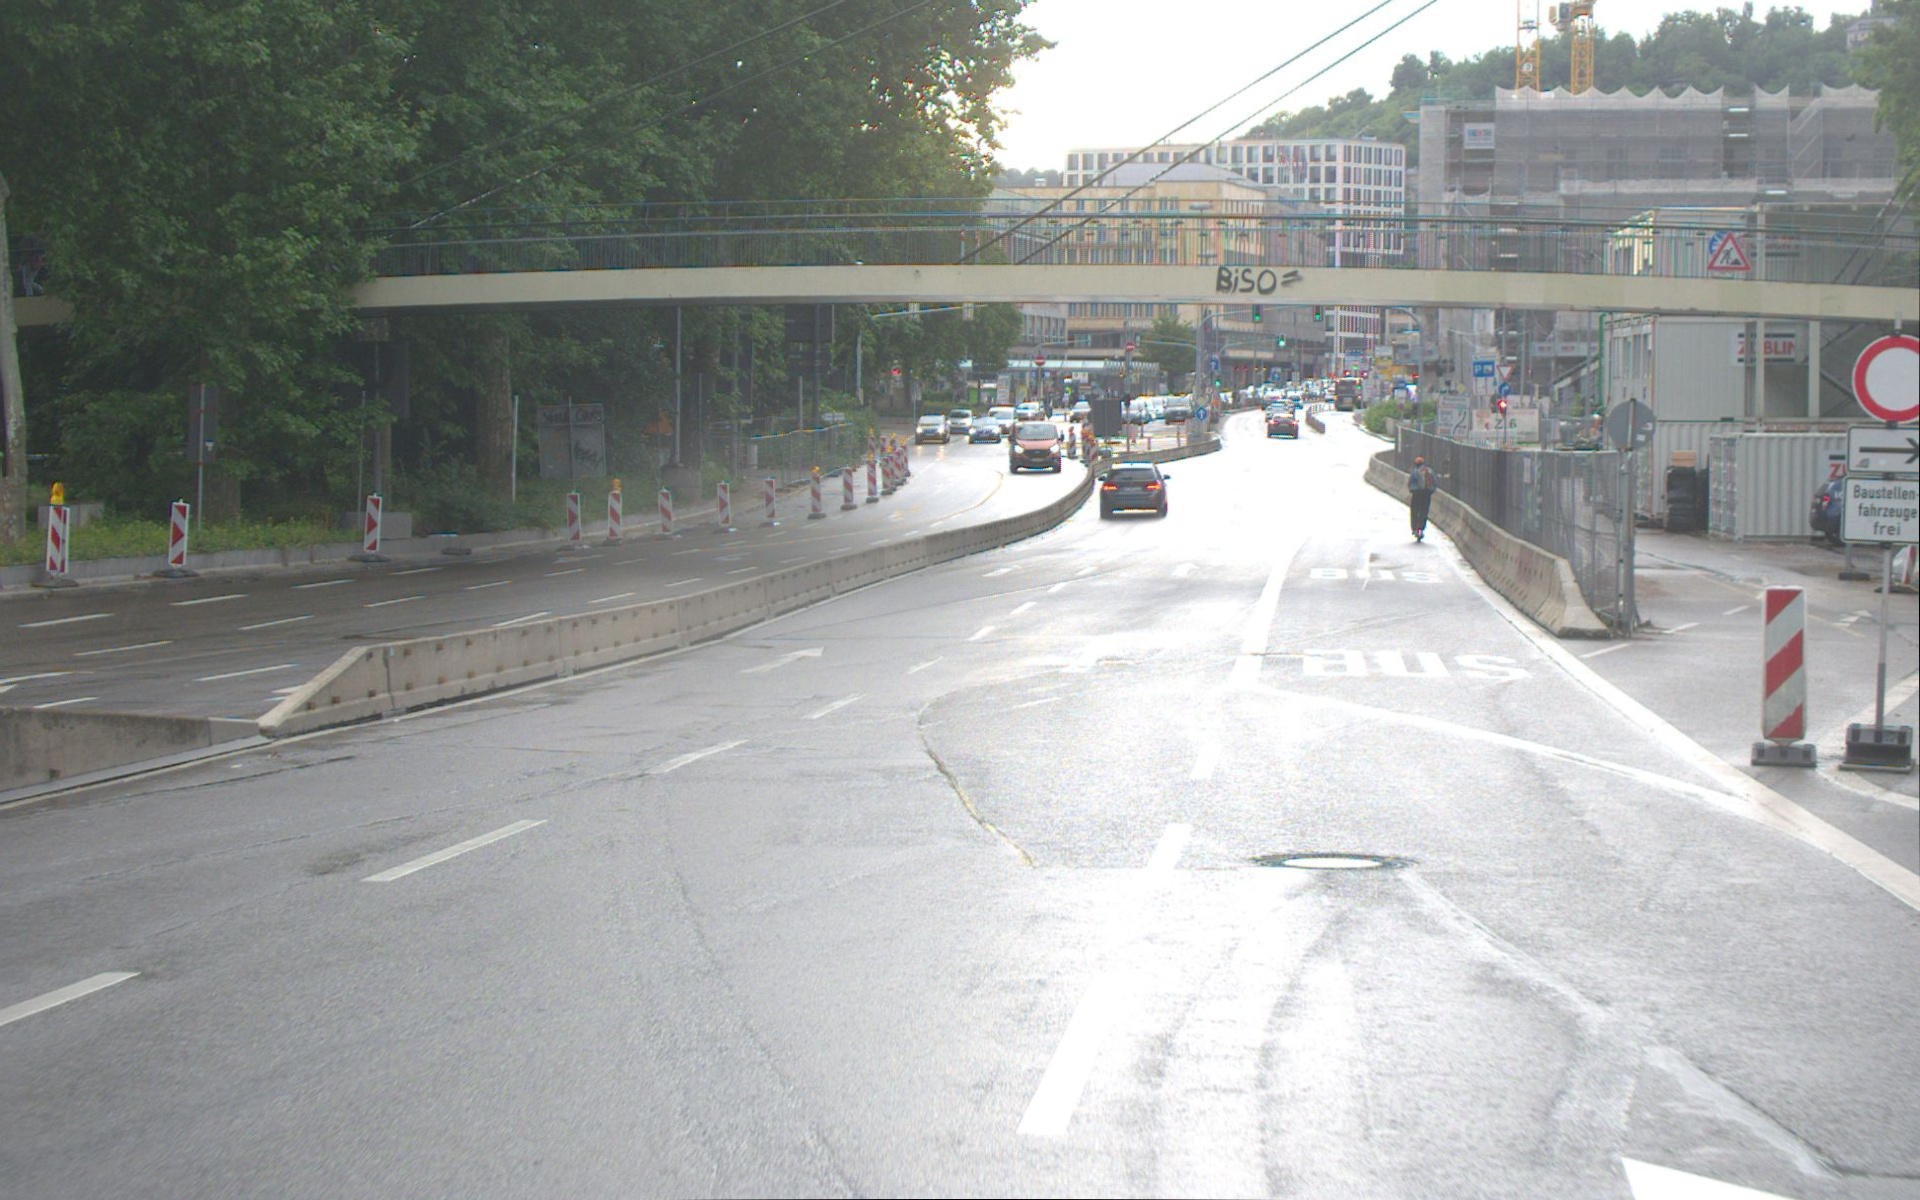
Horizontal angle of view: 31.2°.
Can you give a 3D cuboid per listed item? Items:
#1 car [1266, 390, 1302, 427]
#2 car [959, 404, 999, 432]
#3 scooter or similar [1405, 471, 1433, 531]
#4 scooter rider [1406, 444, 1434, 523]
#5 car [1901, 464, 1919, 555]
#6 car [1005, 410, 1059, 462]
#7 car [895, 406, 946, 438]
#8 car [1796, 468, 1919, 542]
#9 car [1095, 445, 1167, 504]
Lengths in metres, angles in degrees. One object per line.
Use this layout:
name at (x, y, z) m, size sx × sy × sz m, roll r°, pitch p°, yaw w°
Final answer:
car at (19.008, -11.234, 201.492) m, size 1.994 × 2.007 × 3.999 m, roll -1°, pitch 1°, yaw 7°
car at (1.034, -10.156, 192.009) m, size 1.712 × 1.334 × 4.063 m, roll -7°, pitch 3°, yaw -5°
scooter or similar at (10.530, -2.271, 78.813) m, size 0.597 × 1.314 × 1.667 m, roll 1°, pitch 4°, yaw 8°
scooter rider at (10.533, -2.673, 78.755) m, size 0.597 × 1.779 × 0.997 m, roll 1°, pitch 3°, yaw 8°
car at (20.597, -1.695, 65.954) m, size 4.498 × 1.722 × 2.000 m, roll 1°, pitch 3°, yaw 1°
car at (2.874, -6.591, 138.729) m, size 2.031 × 1.929 × 5.044 m, roll -1°, pitch 1°, yaw 0°
car at (-2.225, -9.979, 192.391) m, size 2.030 × 1.647 × 4.321 m, roll -1°, pitch 4°, yaw -11°
car at (22.034, -2.220, 80.378) m, size 4.543 × 1.623 × 1.788 m, roll 1°, pitch 4°, yaw 4°
car at (4.698, -3.434, 94.583) m, size 1.902 × 1.522 × 4.177 m, roll -1°, pitch 1°, yaw 3°
